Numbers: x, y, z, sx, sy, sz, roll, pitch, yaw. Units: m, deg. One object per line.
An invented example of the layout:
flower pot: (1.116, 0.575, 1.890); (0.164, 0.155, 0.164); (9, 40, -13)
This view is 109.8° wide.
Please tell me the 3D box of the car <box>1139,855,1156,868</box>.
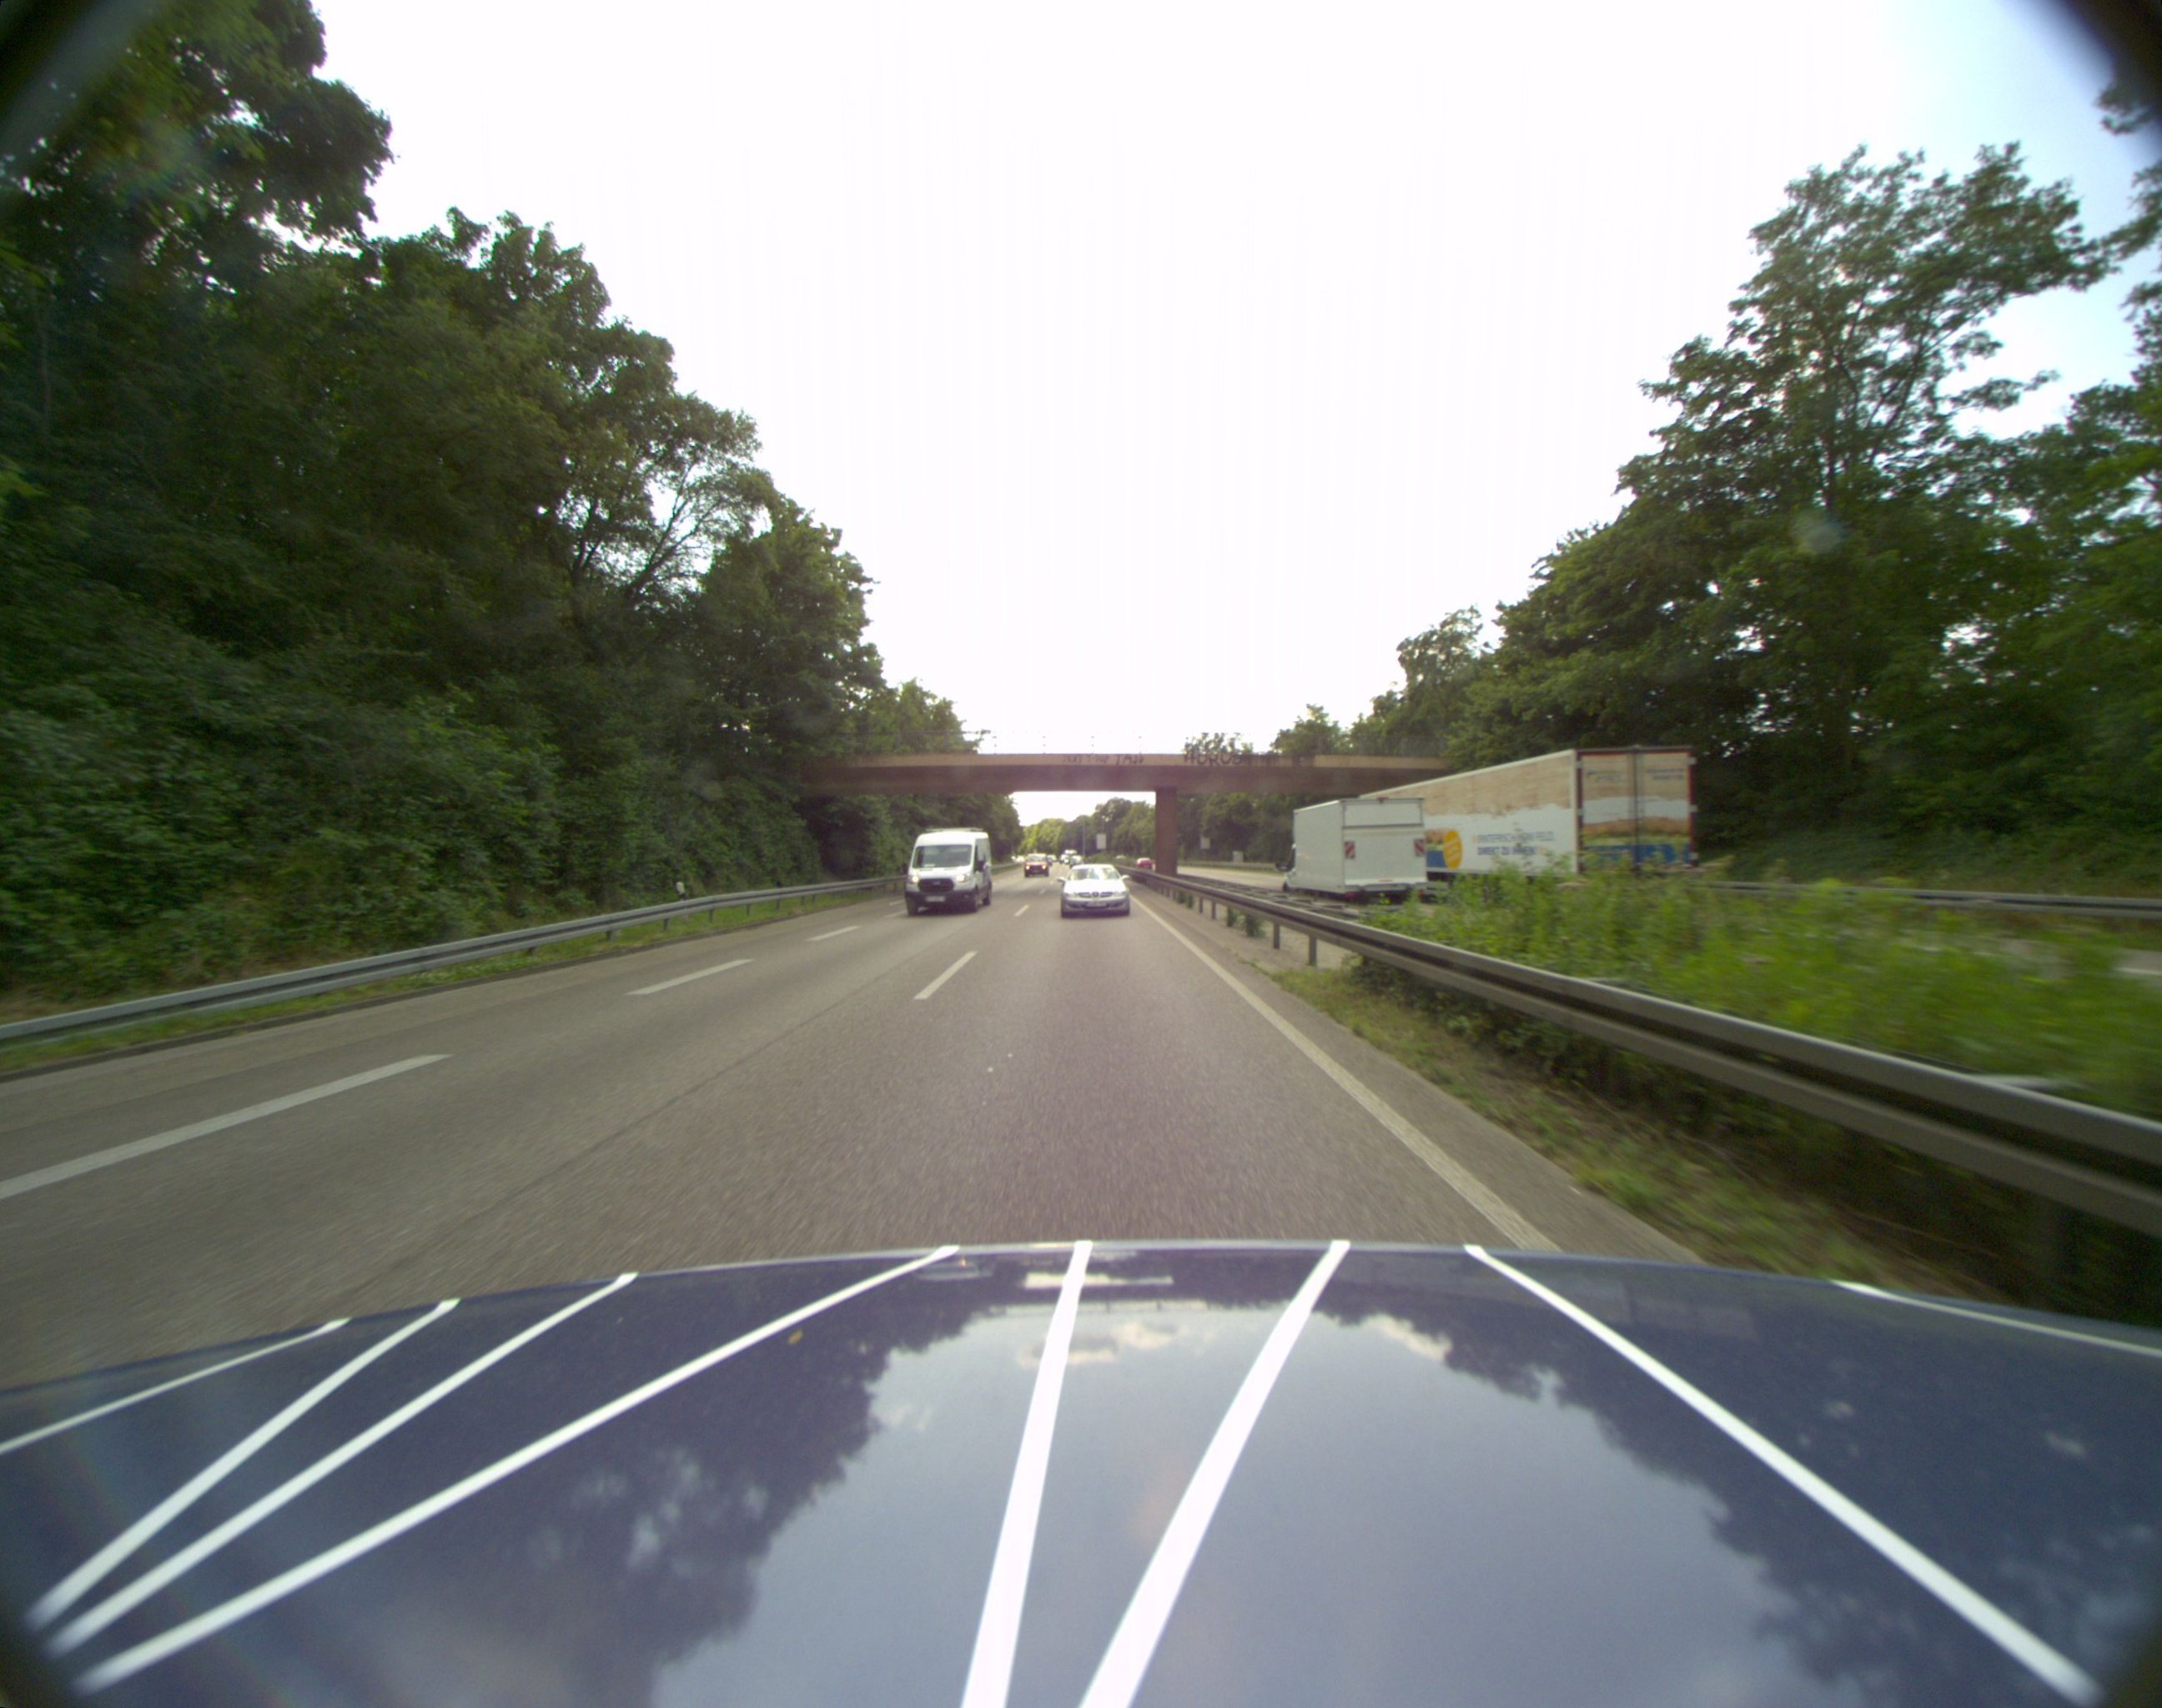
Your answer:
car: (8.013, 0.907, 91.863); (1.689, 1.468, 4.436); (-1, 0, -1)

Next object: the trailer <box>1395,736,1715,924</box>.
trailer: (12.329, -0.524, 21.451); (3.067, 4.018, 9.974); (-1, 0, 2)

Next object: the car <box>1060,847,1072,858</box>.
car: (-2.846, -0.200, 143.064); (1.999, 2.002, 3.998); (-1, 0, -5)

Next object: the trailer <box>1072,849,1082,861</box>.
trailer: (-1.407, 0.261, 254.000); (2.946, 3.811, 10.306); (0, 0, -4)

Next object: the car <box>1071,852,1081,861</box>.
car: (-0.866, 0.404, 126.946); (1.472, 1.560, 3.294); (-1, 0, -2)

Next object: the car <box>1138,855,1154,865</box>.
car: (9.320, 0.874, 109.319); (1.869, 1.447, 4.805); (-1, 0, -1)

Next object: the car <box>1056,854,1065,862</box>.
car: (-4.255, 0.794, 155.549); (1.699, 1.579, 4.000); (-1, 0, 0)

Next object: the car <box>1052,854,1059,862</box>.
car: (-6.996, 1.135, 207.360); (1.725, 2.002, 3.999); (-1, 0, -1)

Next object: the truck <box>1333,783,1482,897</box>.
truck: (12.499, -0.497, 29.864); (3.047, 3.963, 6.748); (-1, 0, 1)

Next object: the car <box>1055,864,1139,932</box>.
car: (0.344, 0.994, 19.054); (1.751, 1.295, 5.223); (-2, 0, 0)

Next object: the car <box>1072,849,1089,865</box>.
car: (-0.043, 0.362, 97.281); (1.999, 2.002, 3.999); (-1, 0, -2)

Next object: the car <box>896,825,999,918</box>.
car: (-3.989, 0.469, 23.668); (2.104, 2.493, 5.279); (-2, 0, 1)

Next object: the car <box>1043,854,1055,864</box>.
car: (-5.235, 0.835, 124.135); (1.890, 1.516, 3.999); (-1, 0, -3)

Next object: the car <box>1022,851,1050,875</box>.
car: (-3.614, 0.722, 61.885); (1.908, 1.795, 4.395); (-2, 0, 1)

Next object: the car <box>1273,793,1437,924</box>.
car: (7.701, 0.094, 22.410); (2.294, 3.214, 7.286); (-1, 0, 1)
